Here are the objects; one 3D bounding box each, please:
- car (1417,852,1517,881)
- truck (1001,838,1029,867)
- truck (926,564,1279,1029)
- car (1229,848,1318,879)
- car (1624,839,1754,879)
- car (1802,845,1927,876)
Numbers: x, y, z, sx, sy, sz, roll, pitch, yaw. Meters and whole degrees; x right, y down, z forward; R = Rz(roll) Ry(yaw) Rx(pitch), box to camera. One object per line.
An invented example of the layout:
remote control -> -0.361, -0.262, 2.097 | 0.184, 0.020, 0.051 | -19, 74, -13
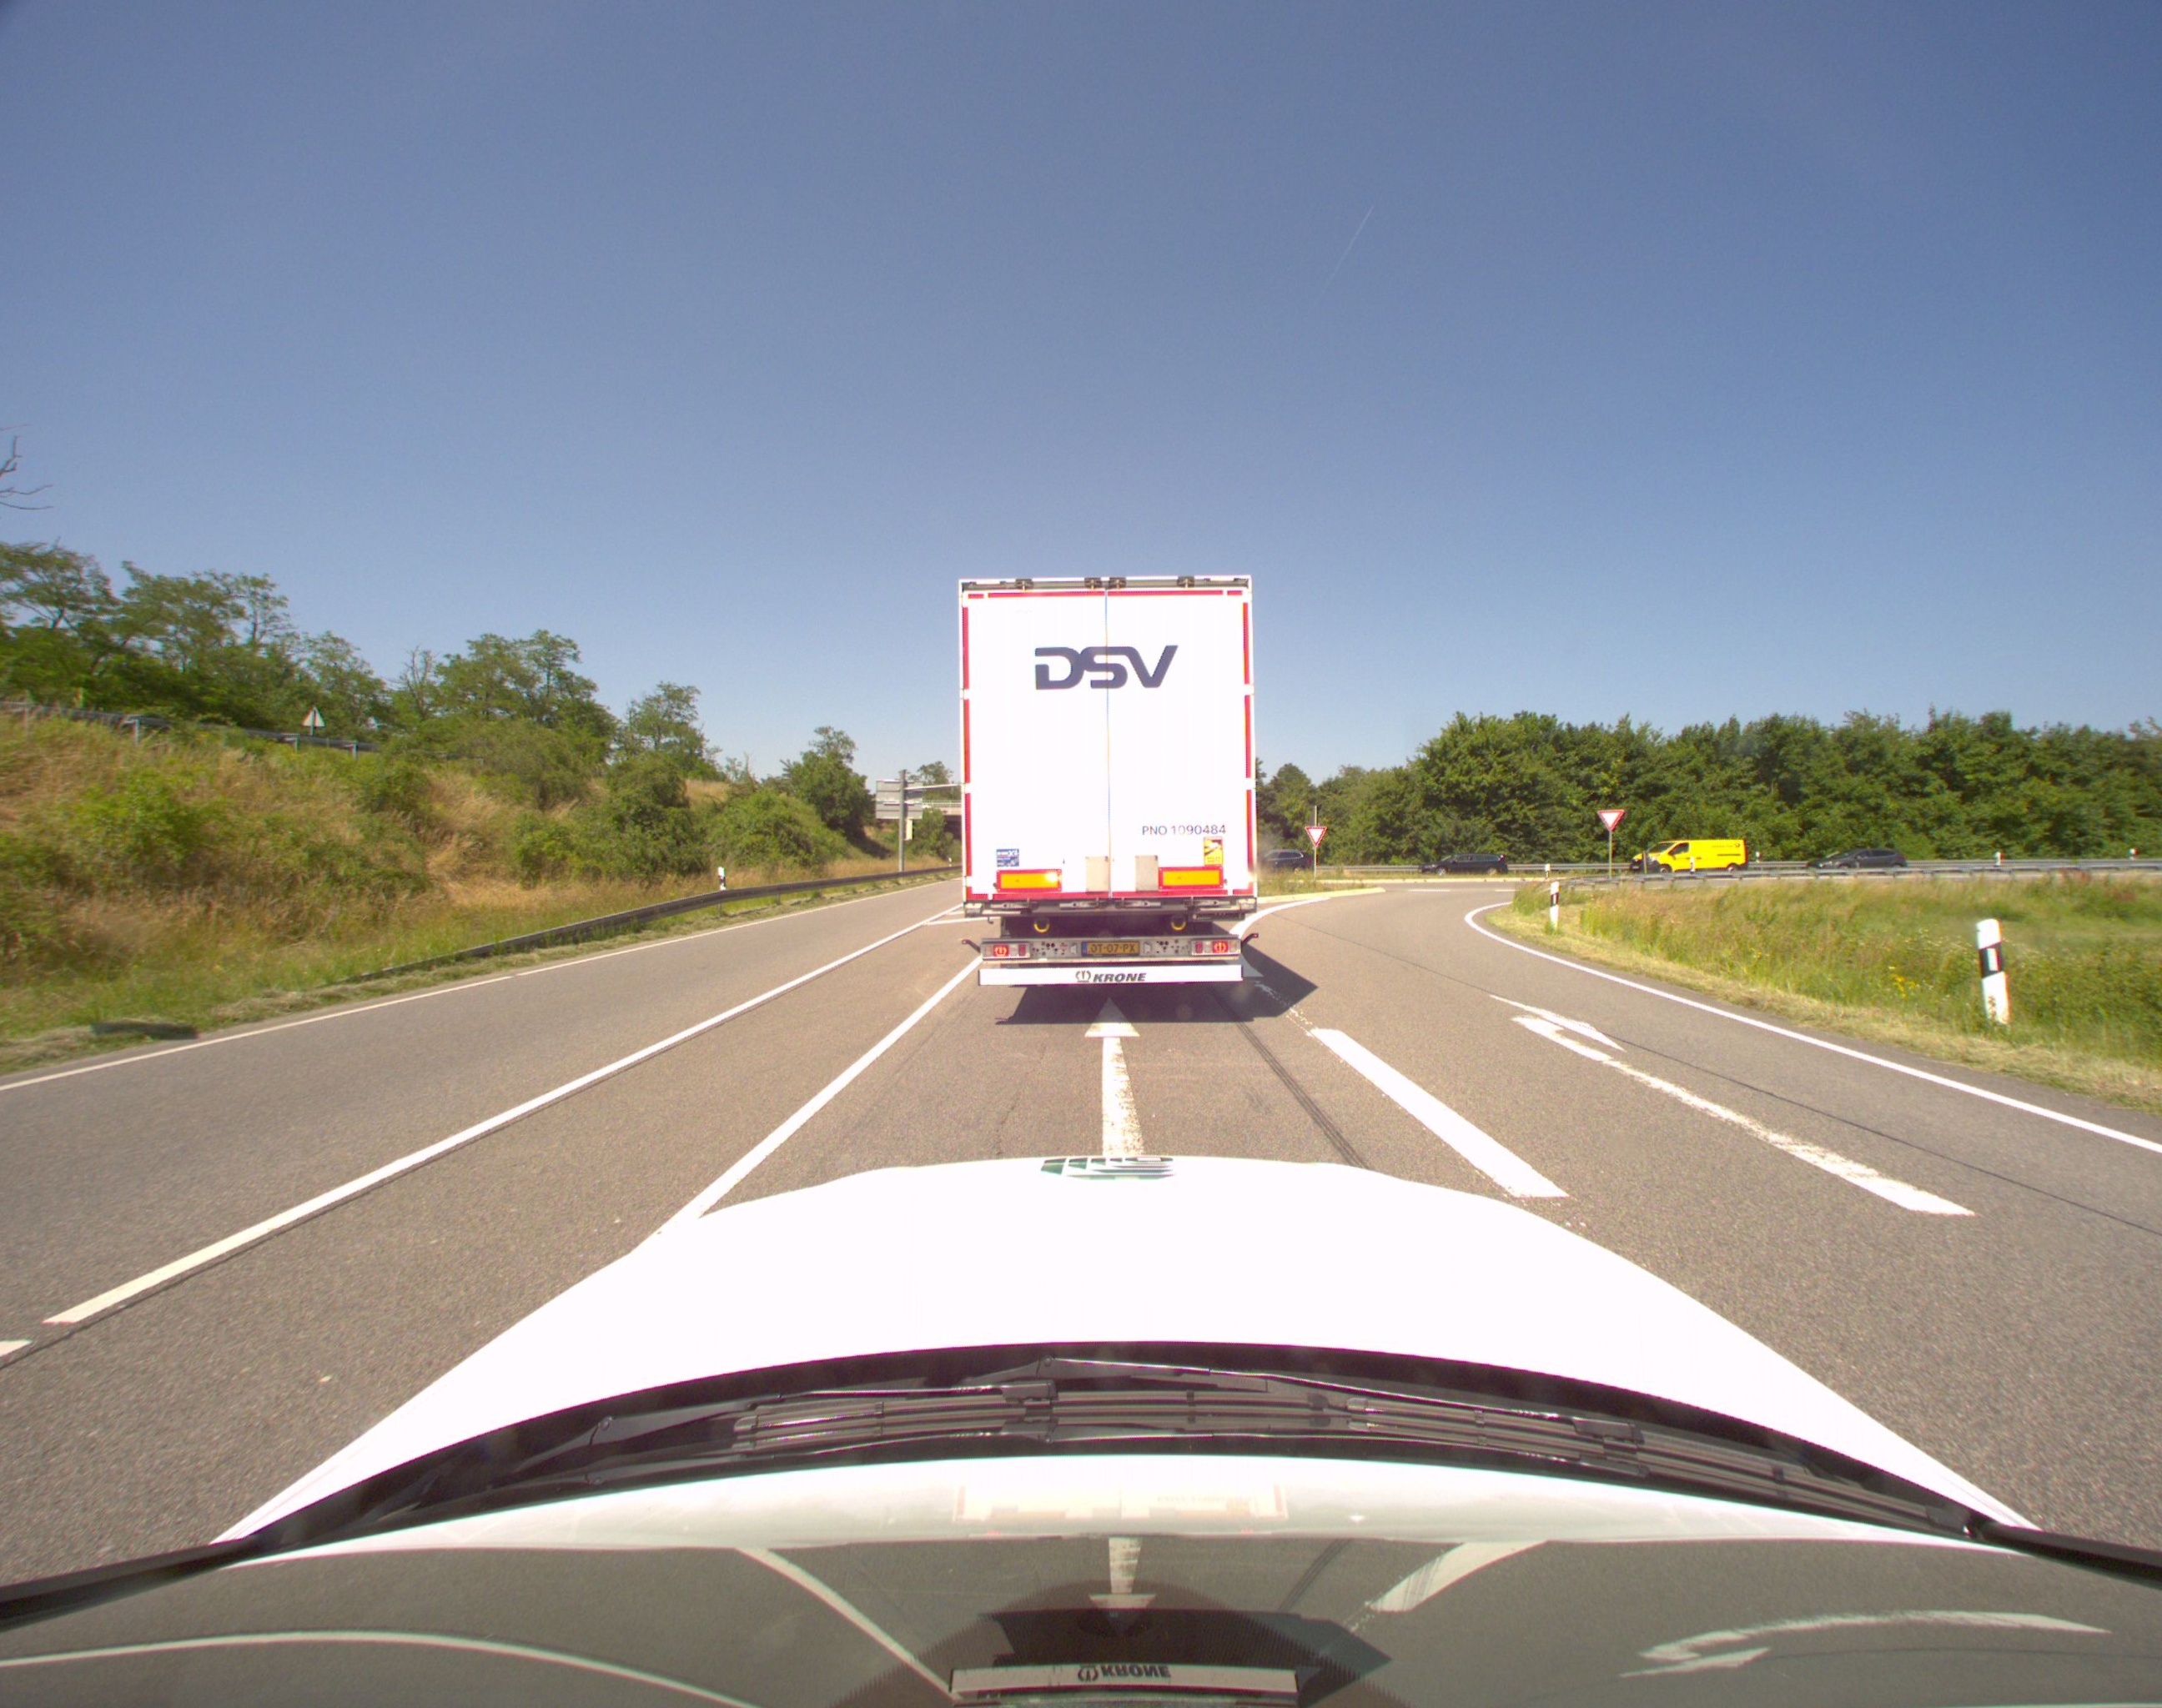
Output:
car -> 21.336, 0.694, 45.205 | 4.655, 1.514, 1.858 | -1, -1, 8
truck -> -8.543, -0.173, 106.105 | 2.634, 3.538, 7.893 | -1, -1, 2
truck -> 0.293, -0.475, 11.912 | 2.977, 3.942, 9.877 | -1, 0, 1
car -> 10.417, 0.502, 44.329 | 4.466, 1.598, 1.769 | -1, -1, 4
car -> 32.099, 0.268, 43.095 | 5.300, 2.014, 2.001 | -1, -1, 2
car -> 41.187, 0.335, 42.888 | 4.662, 1.514, 1.855 | -1, -1, 3
